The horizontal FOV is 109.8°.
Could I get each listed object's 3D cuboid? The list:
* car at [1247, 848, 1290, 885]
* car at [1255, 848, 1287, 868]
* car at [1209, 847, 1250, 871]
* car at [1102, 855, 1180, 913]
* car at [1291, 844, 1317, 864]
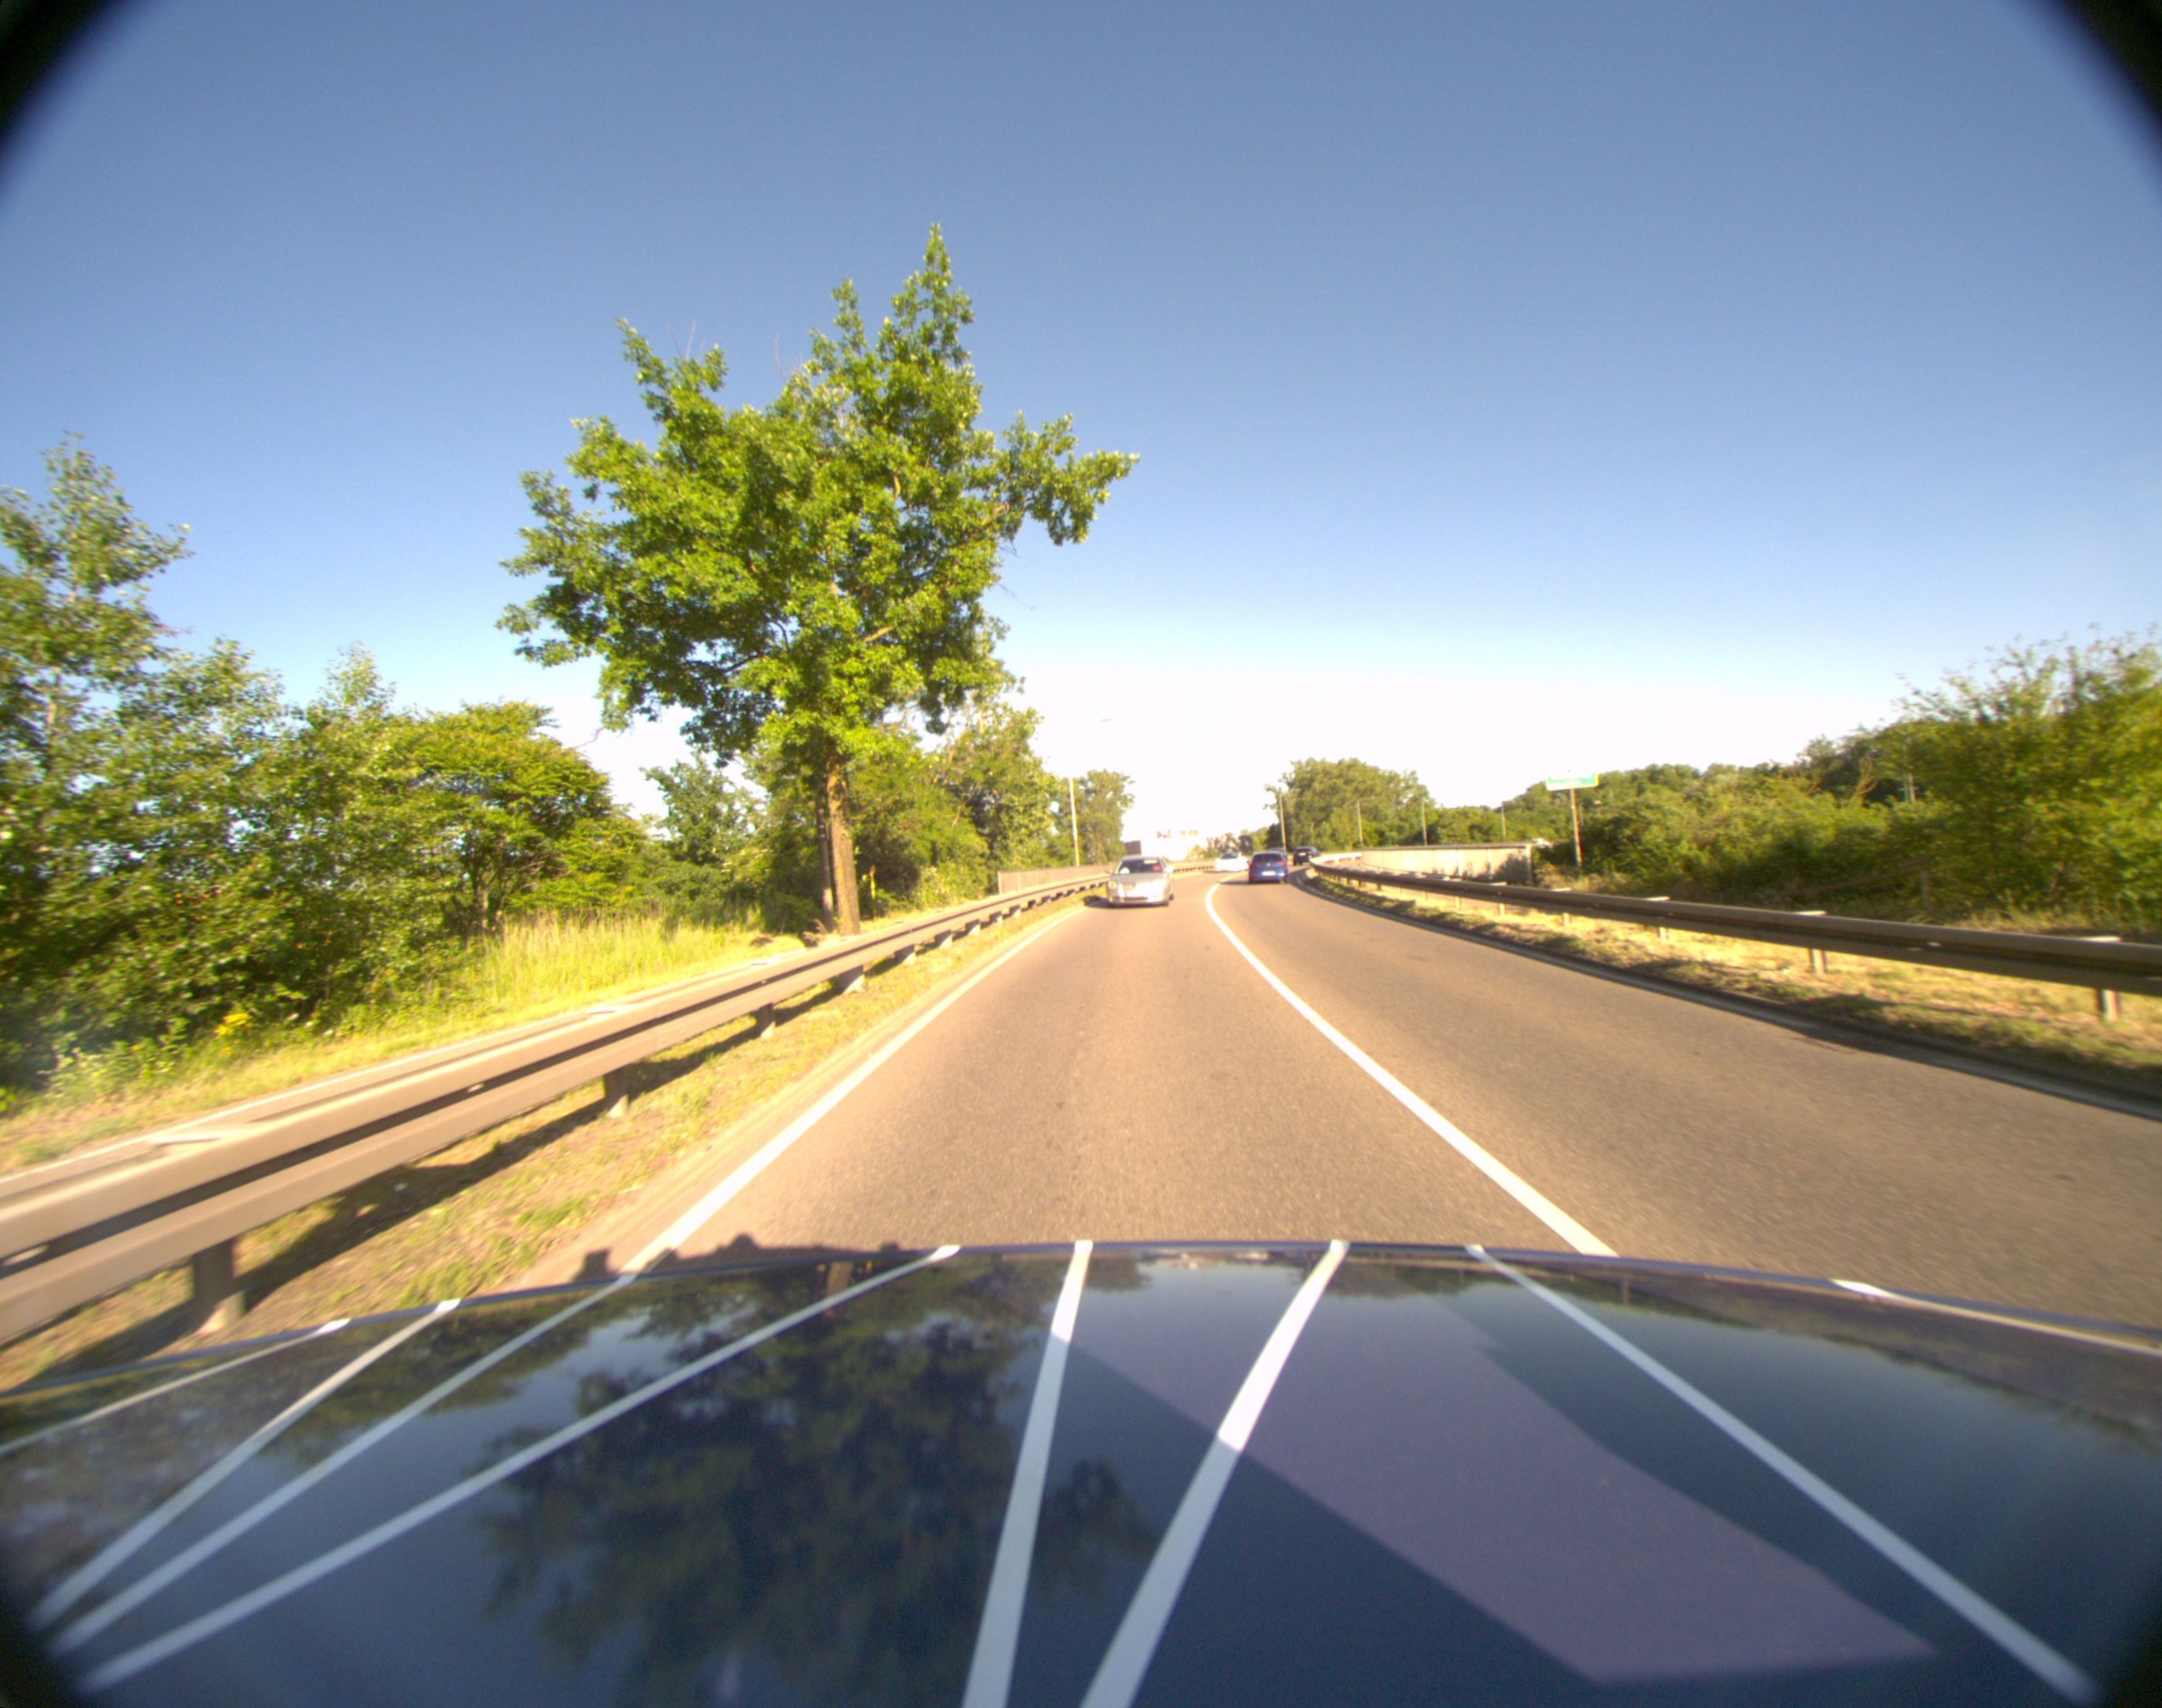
[{"bbox_3d":[8.329,0.533,34.033,1.681,1.442,4.003,-3,1,12],"label":"car"},{"bbox_3d":[17.878,0.323,71.356,1.679,1.694,3.612,-2,1,36],"label":"car"},{"bbox_3d":[10.908,0.348,55.564,2.146,1.558,4.204,-2,0,21],"label":"car"},{"bbox_3d":[1.858,0.825,22.468,1.681,1.433,3.862,-3,1,13],"label":"car"},{"bbox_3d":[19.739,-0.027,67.154,1.680,1.646,3.864,-2,1,23],"label":"car"}]
